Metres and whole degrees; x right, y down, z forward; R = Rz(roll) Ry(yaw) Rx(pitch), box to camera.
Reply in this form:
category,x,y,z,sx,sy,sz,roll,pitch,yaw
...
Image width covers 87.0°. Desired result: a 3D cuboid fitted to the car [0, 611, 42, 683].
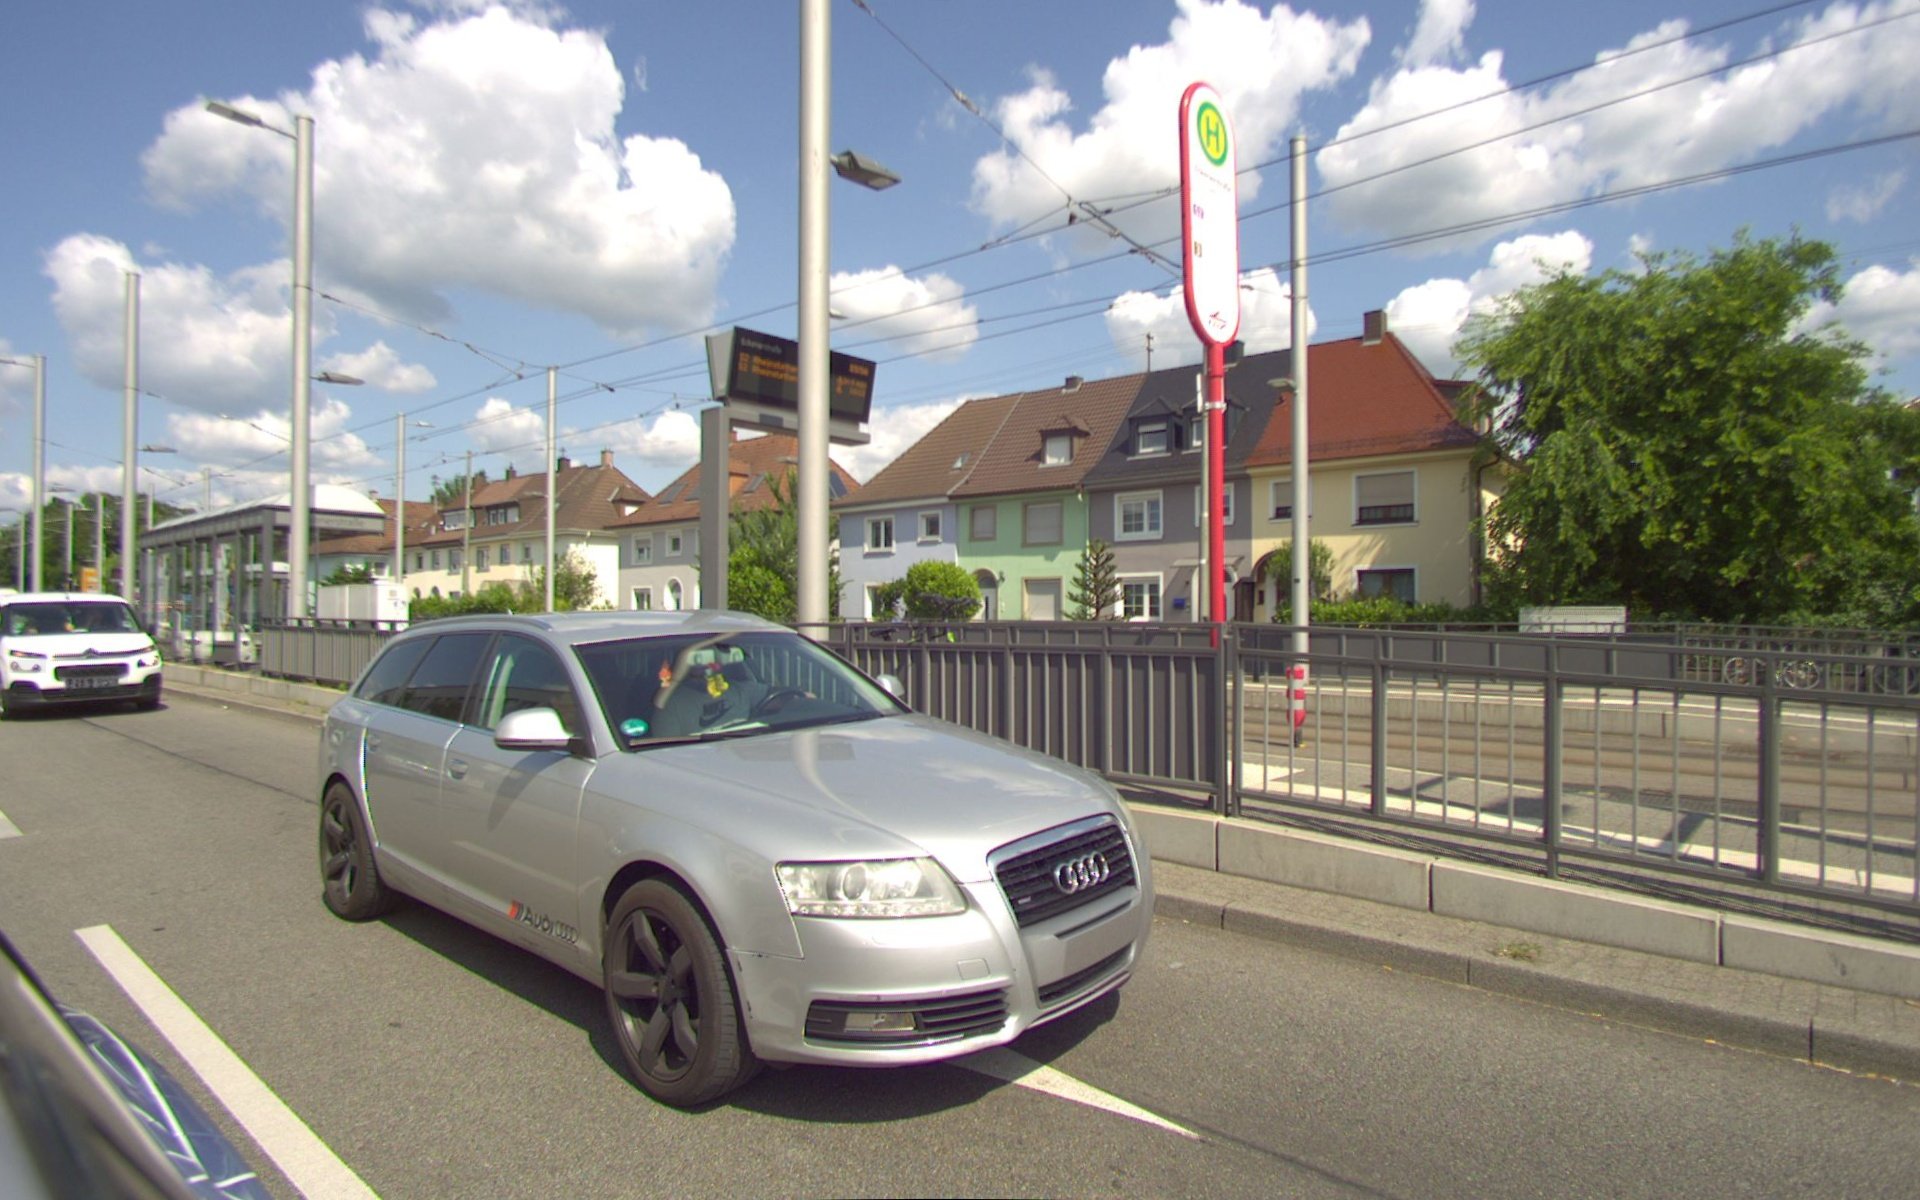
category,x,y,z,sx,sy,sz,roll,pitch,yaw
car,-21.878,1.019,22.463,3.388,1.515,1.660,-1,0,38

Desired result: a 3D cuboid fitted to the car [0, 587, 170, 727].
category,x,y,z,sx,sy,sz,roll,pitch,yaw
car,-13.600,0.734,15.256,4.325,1.829,1.777,0,0,40

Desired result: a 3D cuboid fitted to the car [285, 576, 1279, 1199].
category,x,y,z,sx,sy,sz,roll,pitch,yaw
car,-1.238,0.740,4.461,4.720,1.483,1.775,-2,-1,42
